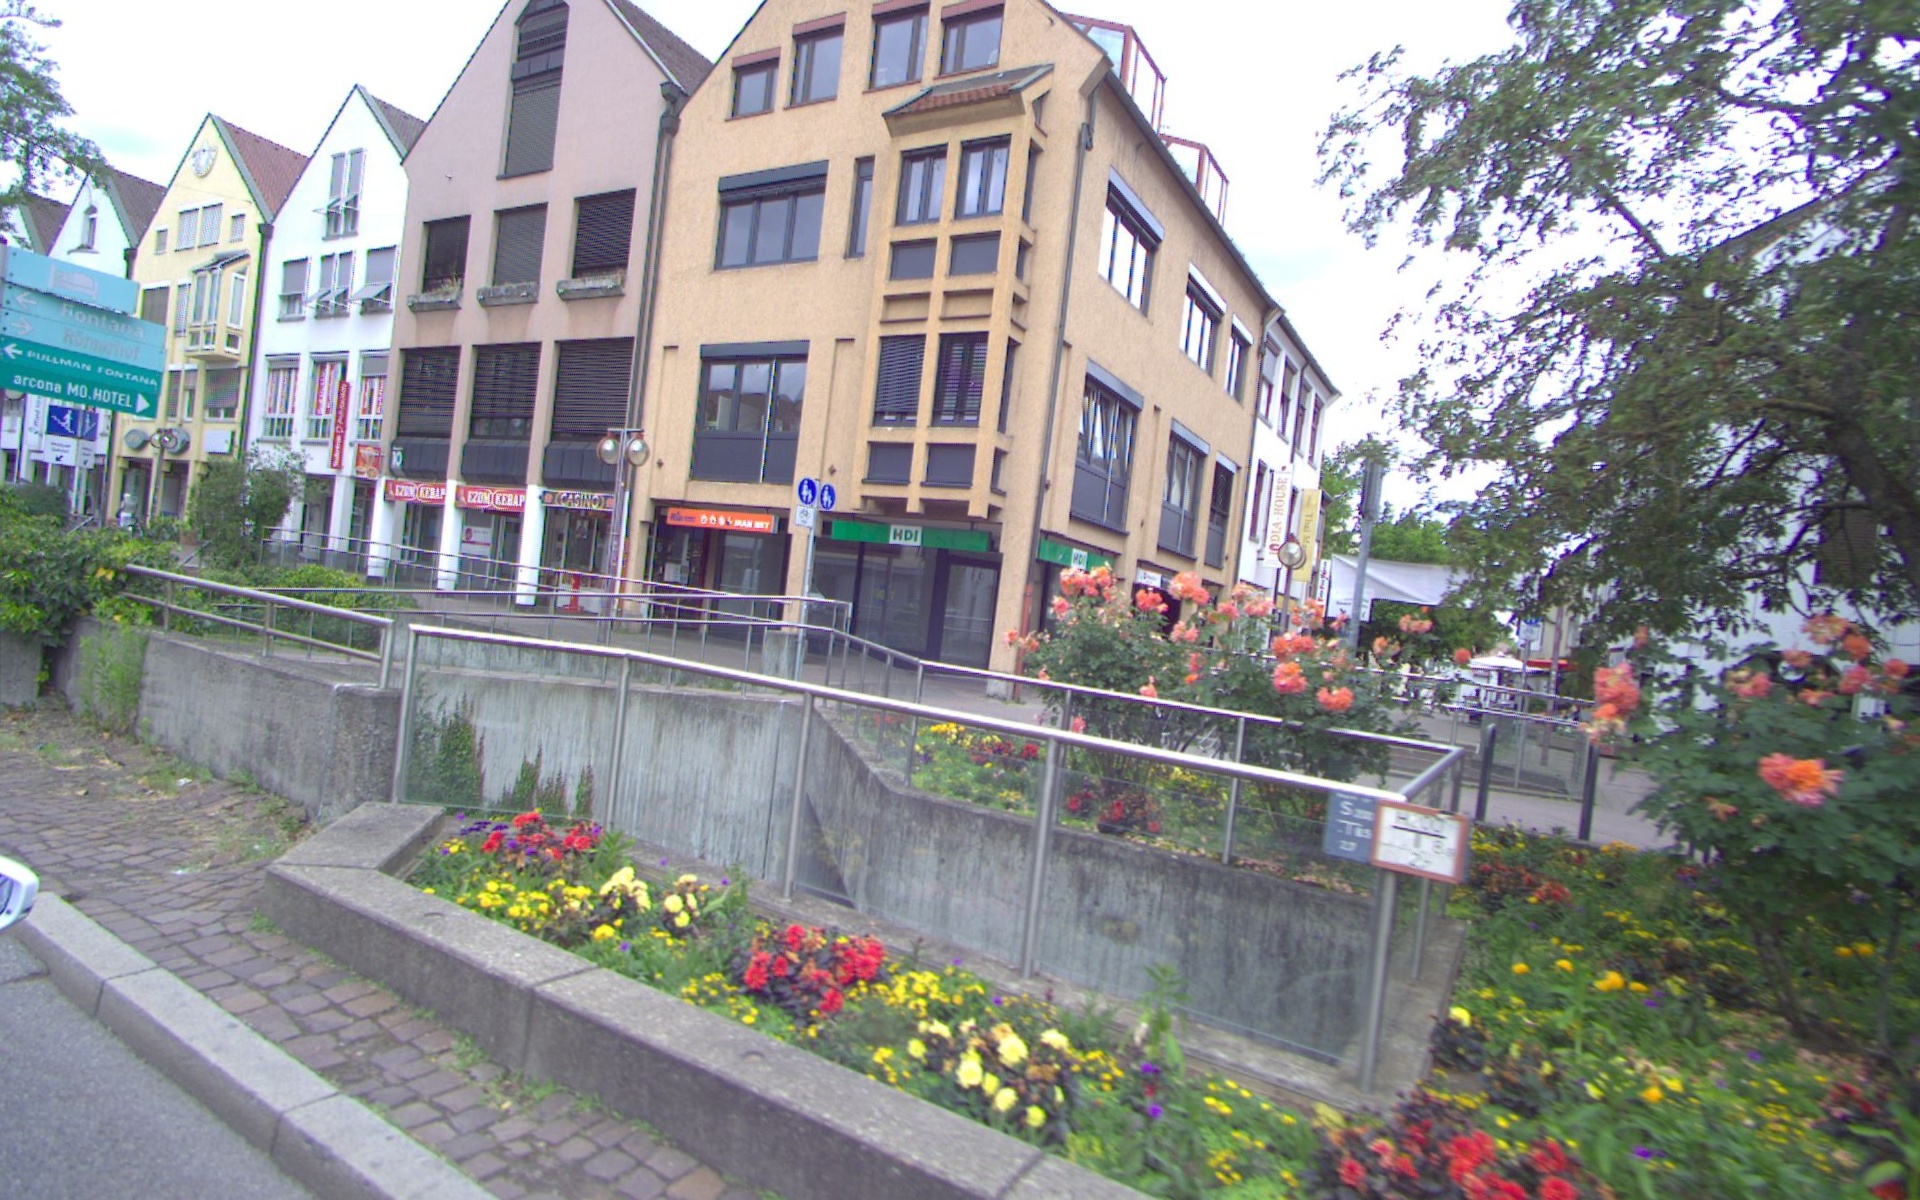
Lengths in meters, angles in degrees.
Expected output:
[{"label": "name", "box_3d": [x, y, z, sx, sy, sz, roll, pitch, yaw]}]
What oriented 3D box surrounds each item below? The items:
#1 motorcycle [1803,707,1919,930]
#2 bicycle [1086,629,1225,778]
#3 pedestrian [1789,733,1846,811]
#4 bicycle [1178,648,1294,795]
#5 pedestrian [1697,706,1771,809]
[{"label": "motorcycle", "box_3d": [7.287, 1.628, 7.008, 1.912, 1.456, 0.721, 7, 1, 29]}, {"label": "bicycle", "box_3d": [2.124, 1.066, 10.711, 0.828, 1.343, 1.820, 7, 0, 27]}, {"label": "pedestrian", "box_3d": [14.757, 2.952, 17.334, 0.504, 1.215, 0.619, 7, 1, 29]}, {"label": "bicycle", "box_3d": [2.821, 1.187, 10.177, 0.658, 1.274, 1.678, 7, 0, 27]}, {"label": "pedestrian", "box_3d": [12.252, 2.476, 15.939, 0.609, 1.494, 0.608, 7, 1, 19]}]
